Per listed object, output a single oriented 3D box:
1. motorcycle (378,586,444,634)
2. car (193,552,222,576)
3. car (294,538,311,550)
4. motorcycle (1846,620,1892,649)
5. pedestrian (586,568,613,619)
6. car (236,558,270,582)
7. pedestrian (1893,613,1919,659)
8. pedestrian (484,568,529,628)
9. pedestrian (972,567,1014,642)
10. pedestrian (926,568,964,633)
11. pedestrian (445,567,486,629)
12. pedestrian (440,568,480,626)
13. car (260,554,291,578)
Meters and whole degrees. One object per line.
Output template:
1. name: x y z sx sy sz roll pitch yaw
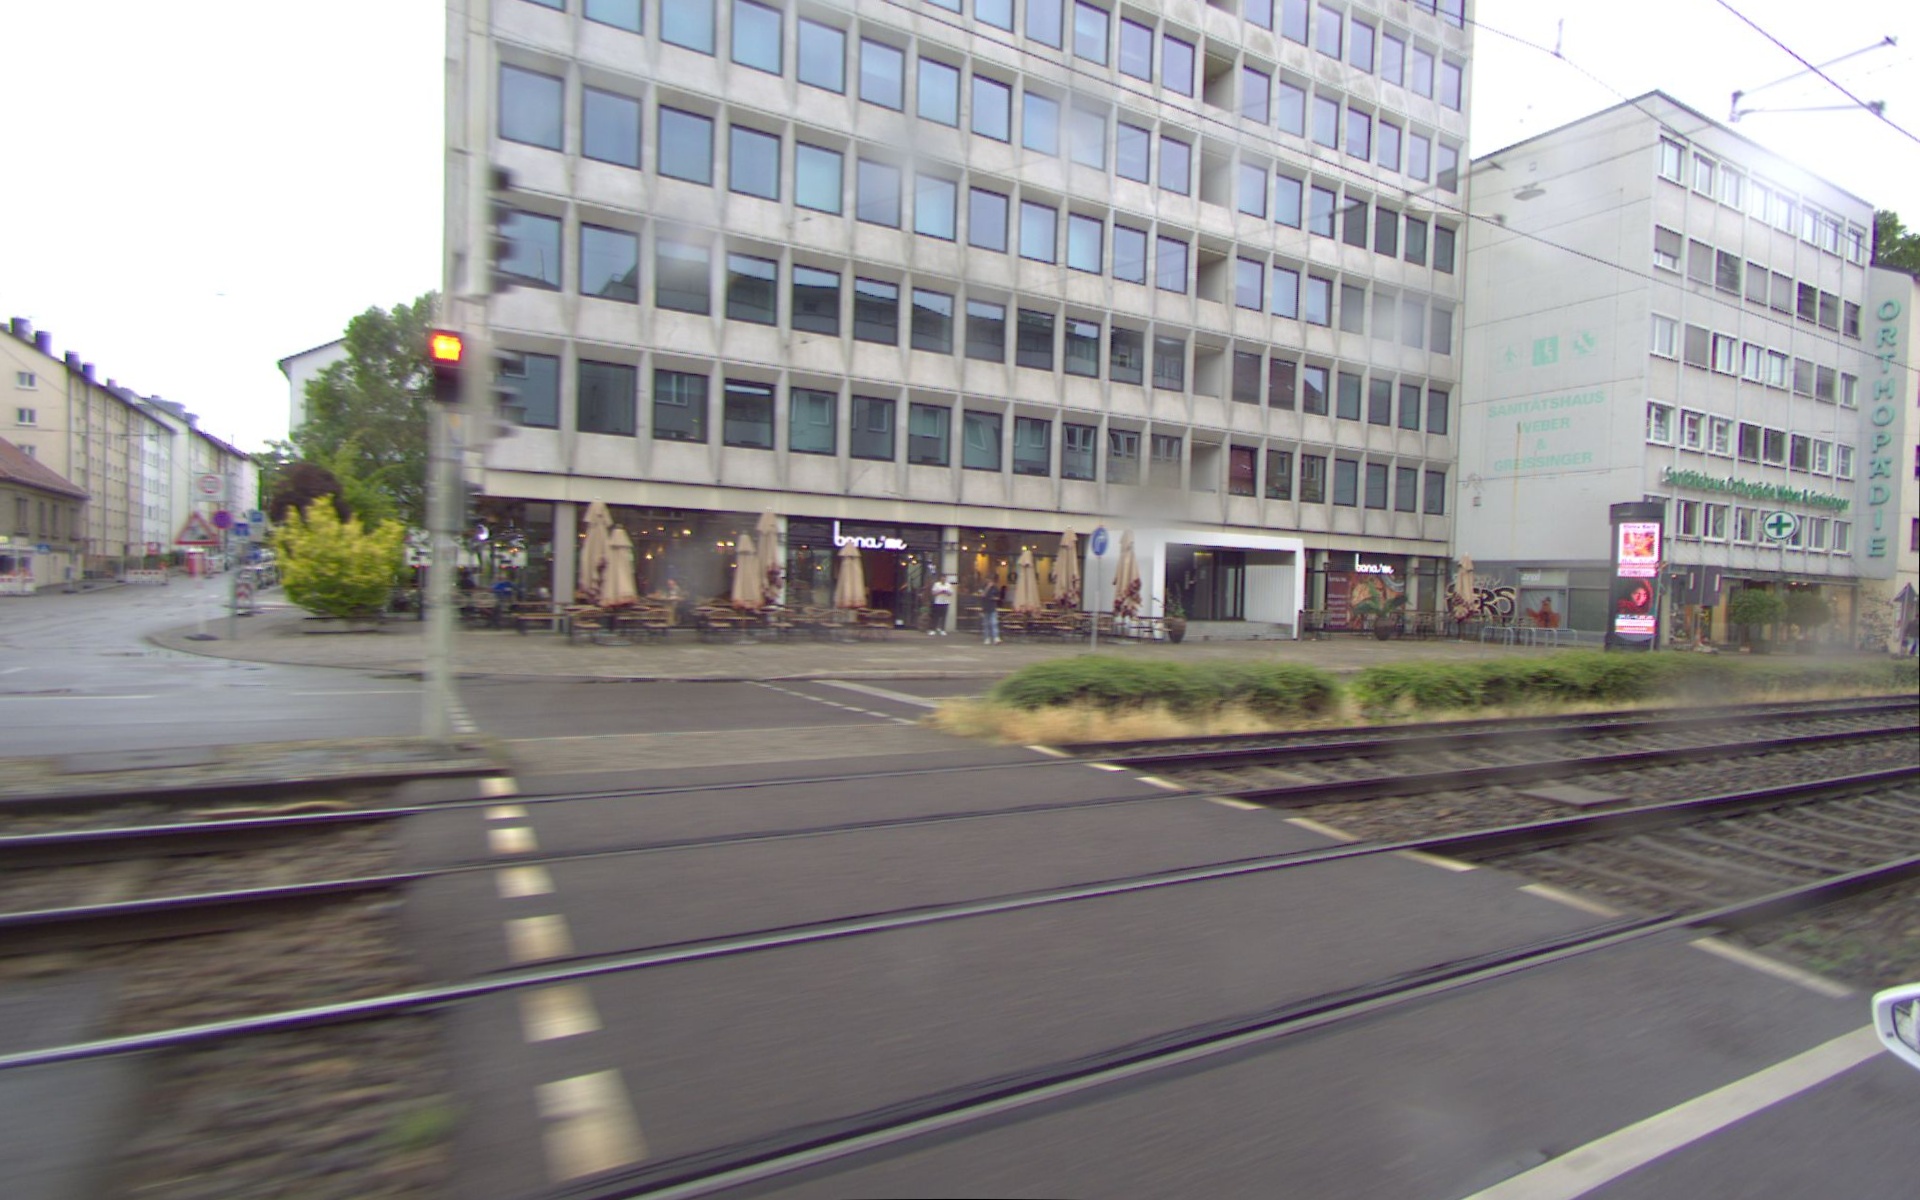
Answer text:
1. motorcycle: -20.811 0.392 38.105 2.048 1.741 0.876 2 -1 -21
2. car: -67.528 -3.241 90.173 1.637 2.041 3.457 1 1 -29
3. car: -124.521 -10.591 190.250 1.974 2.040 3.973 3 -1 -26
4. motorcycle: 40.950 1.540 45.263 0.381 1.195 1.469 2 1 -30
5. pedestrian: -9.585 -0.177 26.712 0.547 1.339 0.520 2 1 -29
6. car: -54.409 -2.299 77.335 1.761 1.757 4.131 2 1 -30
7. pedestrian: 40.445 1.541 42.765 0.971 1.921 0.724 2 1 -30
8. pedestrian: -12.013 -0.054 26.595 0.954 1.553 0.889 1 1 -31
9. pedestrian: 0.832 0.123 25.215 0.836 1.847 0.561 2 1 -34
10. pedestrian: -0.431 0.015 28.331 0.836 1.772 0.561 2 1 -34
11. pedestrian: -12.855 -0.059 26.112 0.886 1.553 0.957 2 1 -29
12. pedestrian: -13.629 -0.087 27.379 0.887 1.553 0.957 1 1 -31
13. car: -56.971 -2.838 83.629 1.761 1.895 3.991 2 1 -30
